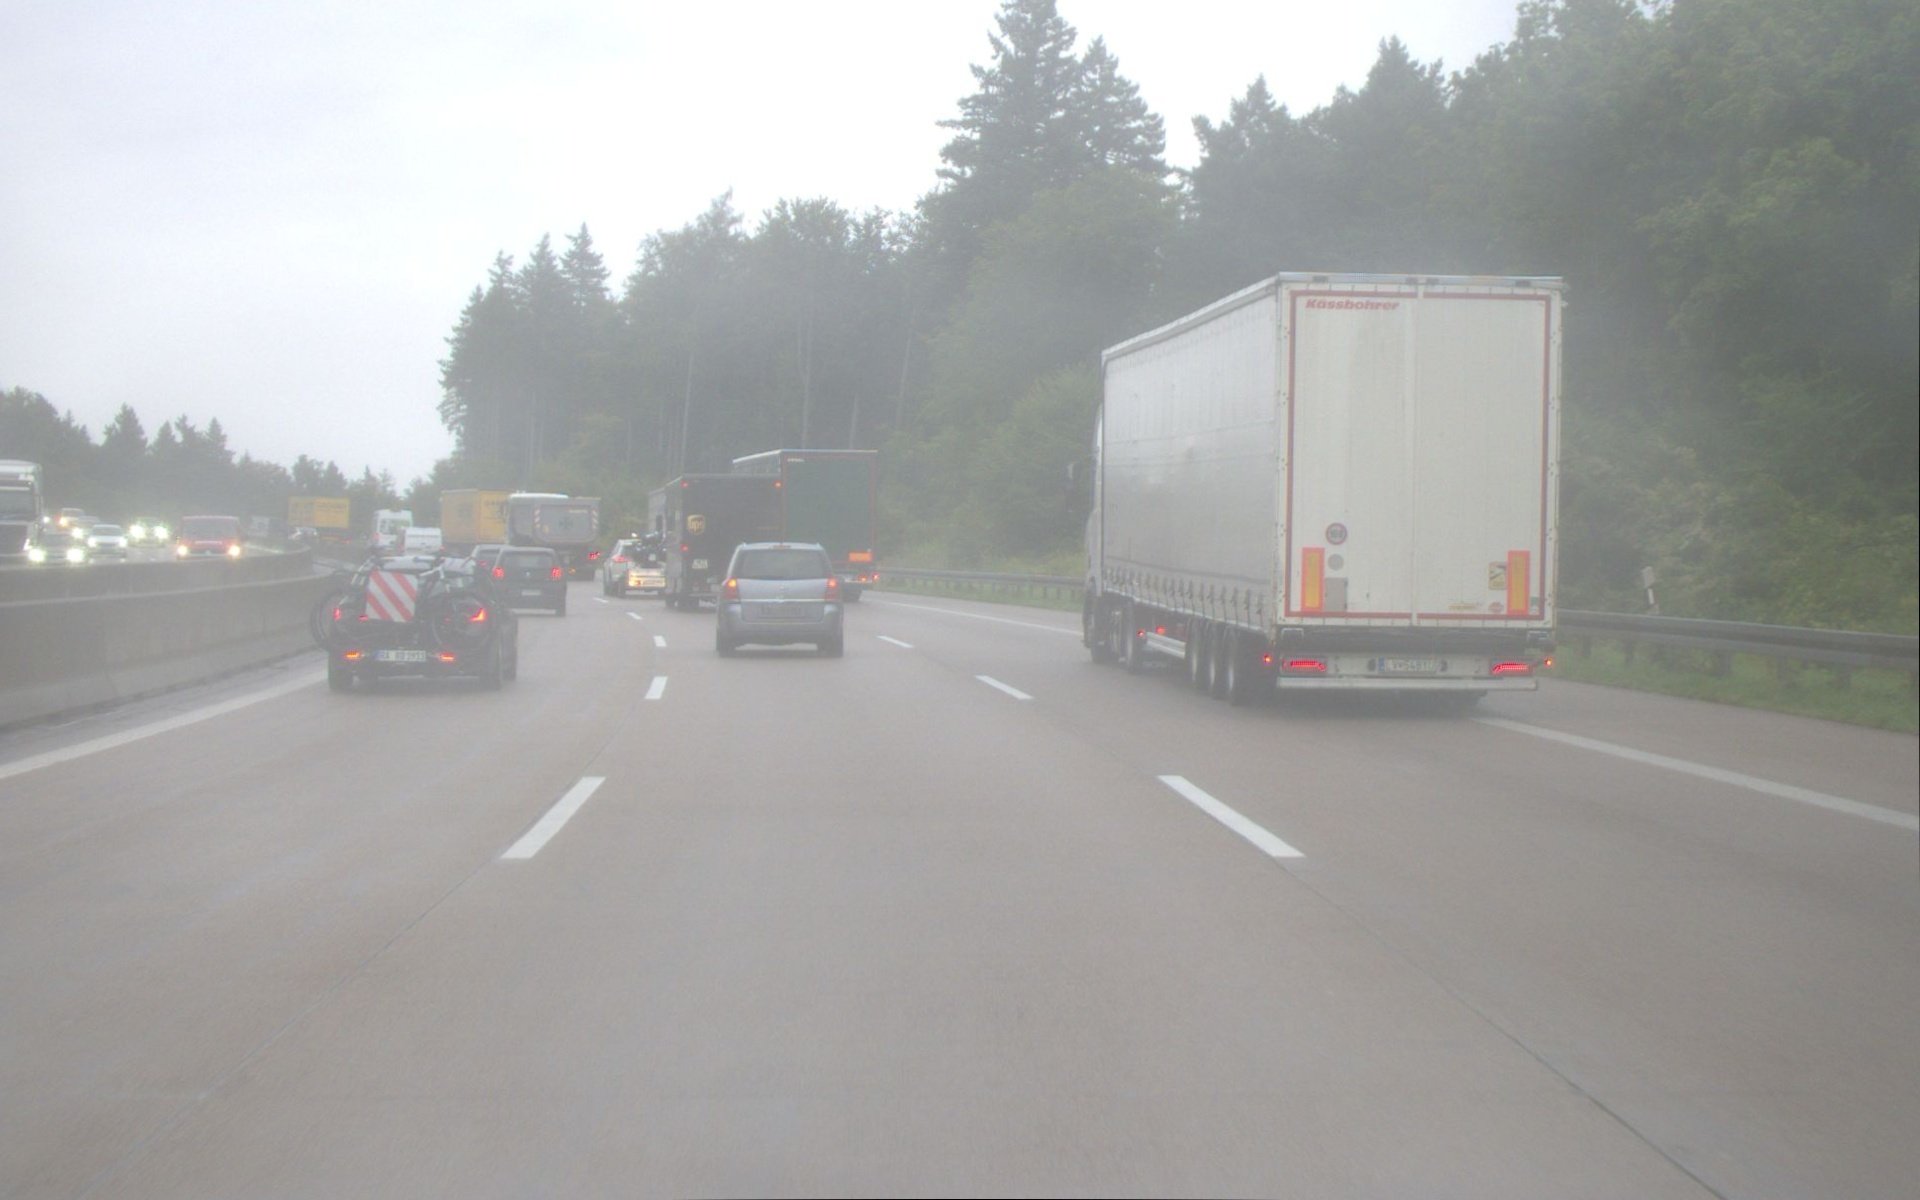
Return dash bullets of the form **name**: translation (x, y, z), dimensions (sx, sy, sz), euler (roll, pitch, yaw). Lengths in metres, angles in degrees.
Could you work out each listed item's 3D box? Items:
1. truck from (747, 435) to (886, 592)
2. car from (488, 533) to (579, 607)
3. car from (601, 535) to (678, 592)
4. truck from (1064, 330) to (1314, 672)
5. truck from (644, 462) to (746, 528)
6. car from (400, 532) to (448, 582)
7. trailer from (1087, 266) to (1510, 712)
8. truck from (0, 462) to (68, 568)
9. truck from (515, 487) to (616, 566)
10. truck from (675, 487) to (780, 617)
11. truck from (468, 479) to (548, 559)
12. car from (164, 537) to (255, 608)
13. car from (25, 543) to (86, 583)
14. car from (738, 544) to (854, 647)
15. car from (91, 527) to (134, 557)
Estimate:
- **truck**: translation (-4.092, -2.373, 95.489), dimensions (3.368, 4.117, 10.439), euler (0, 1, -5)
- **car**: translation (-9.015, -0.655, 72.916), dimensions (1.683, 1.457, 3.684), euler (2, 1, -4)
- **car**: translation (-8.814, -1.012, 94.801), dimensions (1.881, 1.468, 4.001), euler (2, 1, -2)
- **truck**: translation (2.797, -1.216, 43.301), dimensions (2.419, 4.054, 4.979), euler (0, 1, -5)
- **truck**: translation (-9.992, -3.940, 128.981), dimensions (2.973, 2.301, 6.669), euler (2, 1, -11)
- **car**: translation (-21.948, -1.752, 140.652), dimensions (1.725, 2.007, 3.658), euler (0, 0, -12)
- **trailer**: translation (3.318, -1.121, 37.372), dimensions (2.419, 4.054, 12.057), euler (0, 1, -5)
- **truck**: translation (-38.919, -3.526, 142.880), dimensions (2.744, 4.270, 8.317), euler (0, 1, -9)
- **truck**: translation (-15.120, -2.841, 131.172), dimensions (3.081, 2.895, 7.906), euler (0, 2, -12)
- **truck**: translation (-5.488, -1.184, 80.213), dimensions (2.269, 2.877, 7.905), euler (0, 2, -5)
- **truck**: translation (-24.502, -4.367, 186.042), dimensions (3.739, 4.195, 6.820), euler (0, 0, -12)
- **car**: translation (-22.470, -0.839, 103.112), dimensions (1.993, 2.075, 5.333), euler (0, 1, -5)
- **car**: translation (-31.877, -1.320, 121.251), dimensions (1.621, 1.388, 4.001), euler (0, 1, -8)
- **car**: translation (-2.361, -0.091, 49.032), dimensions (1.553, 1.347, 3.684), euler (2, 1, -3)
- **car**: translation (-38.915, -2.664, 157.926), dimensions (1.621, 1.388, 4.001), euler (0, 1, -9)
